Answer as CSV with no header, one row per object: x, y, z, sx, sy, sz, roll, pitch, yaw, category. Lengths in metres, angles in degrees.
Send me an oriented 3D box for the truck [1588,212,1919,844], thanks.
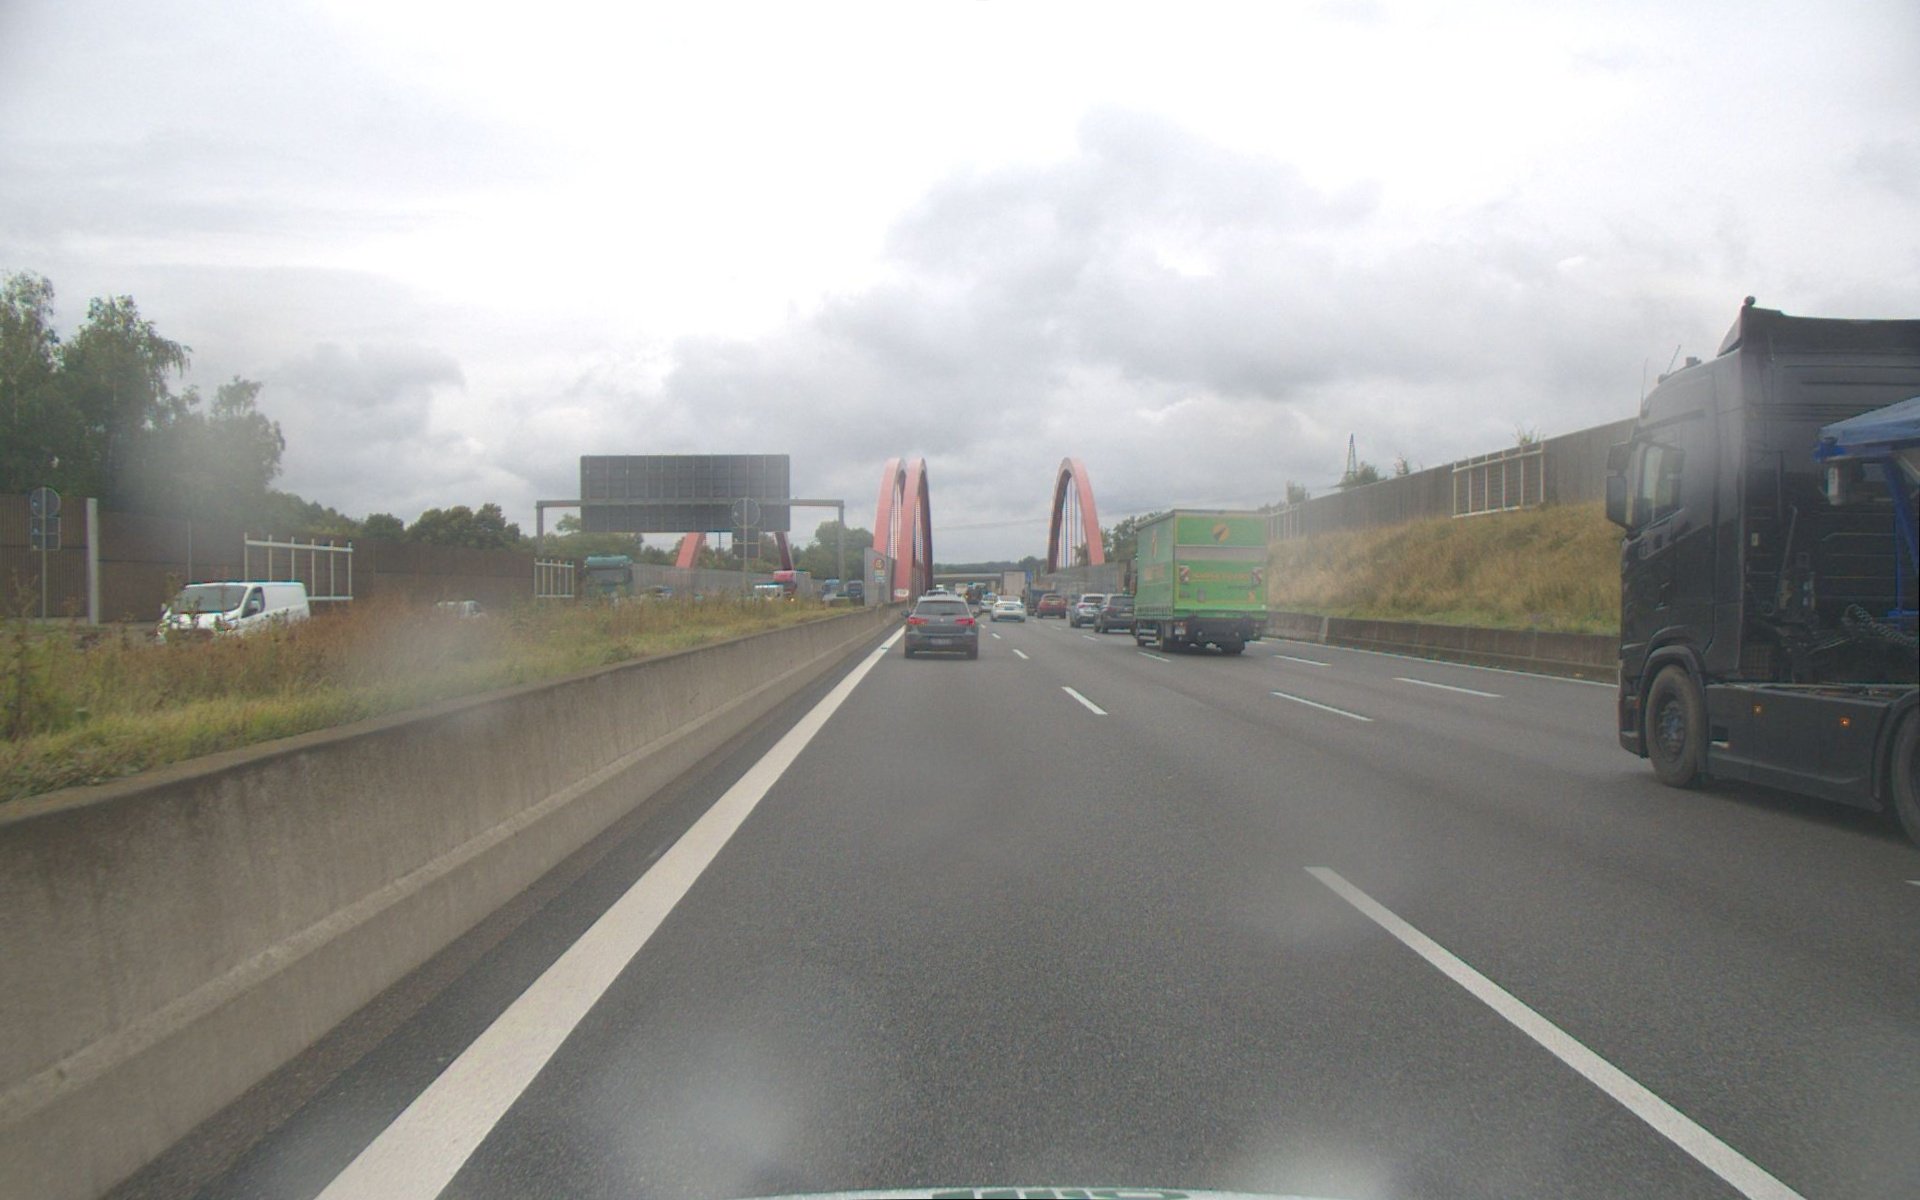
7.497,-0.431,9.342,2.756,4.019,12.710,1,0,-1,truck

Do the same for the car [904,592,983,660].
-0.370,0.572,38.965,1.728,1.478,4.000,1,0,0,car

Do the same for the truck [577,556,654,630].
-19.186,-0.405,92.430,2.804,3.905,7.520,1,0,-1,truck

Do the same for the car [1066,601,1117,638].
6.375,0.920,80.737,1.953,1.647,5.326,1,0,-1,car

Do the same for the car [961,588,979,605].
1.087,-0.432,183.975,1.953,1.847,4.000,1,0,-1,car

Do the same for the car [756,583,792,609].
-14.999,-0.312,133.759,2.169,2.049,7.058,1,0,0,car

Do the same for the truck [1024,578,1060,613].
6.165,-0.376,125.091,2.313,2.550,6.143,1,0,0,truck

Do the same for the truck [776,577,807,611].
-19.060,-0.714,187.739,2.923,3.819,5.916,1,0,-1,truck

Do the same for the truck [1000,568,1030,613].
6.049,-1.069,183.236,2.982,4.817,7.679,1,0,0,truck

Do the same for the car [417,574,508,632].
-18.300,0.103,61.056,1.953,2.049,4.651,1,0,-1,car

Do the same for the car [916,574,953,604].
-1.425,-0.597,90.599,1.953,1.612,3.999,0,0,-2,car

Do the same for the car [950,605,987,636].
0.406,1.000,81.079,1.745,1.431,3.625,1,0,-1,car

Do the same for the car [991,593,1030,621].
2.772,0.383,92.086,1.953,1.512,3.999,1,0,-1,car

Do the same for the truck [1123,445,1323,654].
7.397,-1.320,48.649,3.916,5.358,11.218,1,0,0,truck

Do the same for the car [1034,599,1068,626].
6.060,0.811,110.294,1.917,1.676,3.999,1,0,-1,car

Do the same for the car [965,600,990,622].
1.295,0.776,121.619,1.668,1.570,3.837,1,0,-2,car

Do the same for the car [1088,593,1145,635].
6.495,0.552,69.086,1.873,1.699,4.102,1,0,-2,car

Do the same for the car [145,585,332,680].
-16.931,0.702,39.215,1.868,2.049,5.953,1,0,-1,car
